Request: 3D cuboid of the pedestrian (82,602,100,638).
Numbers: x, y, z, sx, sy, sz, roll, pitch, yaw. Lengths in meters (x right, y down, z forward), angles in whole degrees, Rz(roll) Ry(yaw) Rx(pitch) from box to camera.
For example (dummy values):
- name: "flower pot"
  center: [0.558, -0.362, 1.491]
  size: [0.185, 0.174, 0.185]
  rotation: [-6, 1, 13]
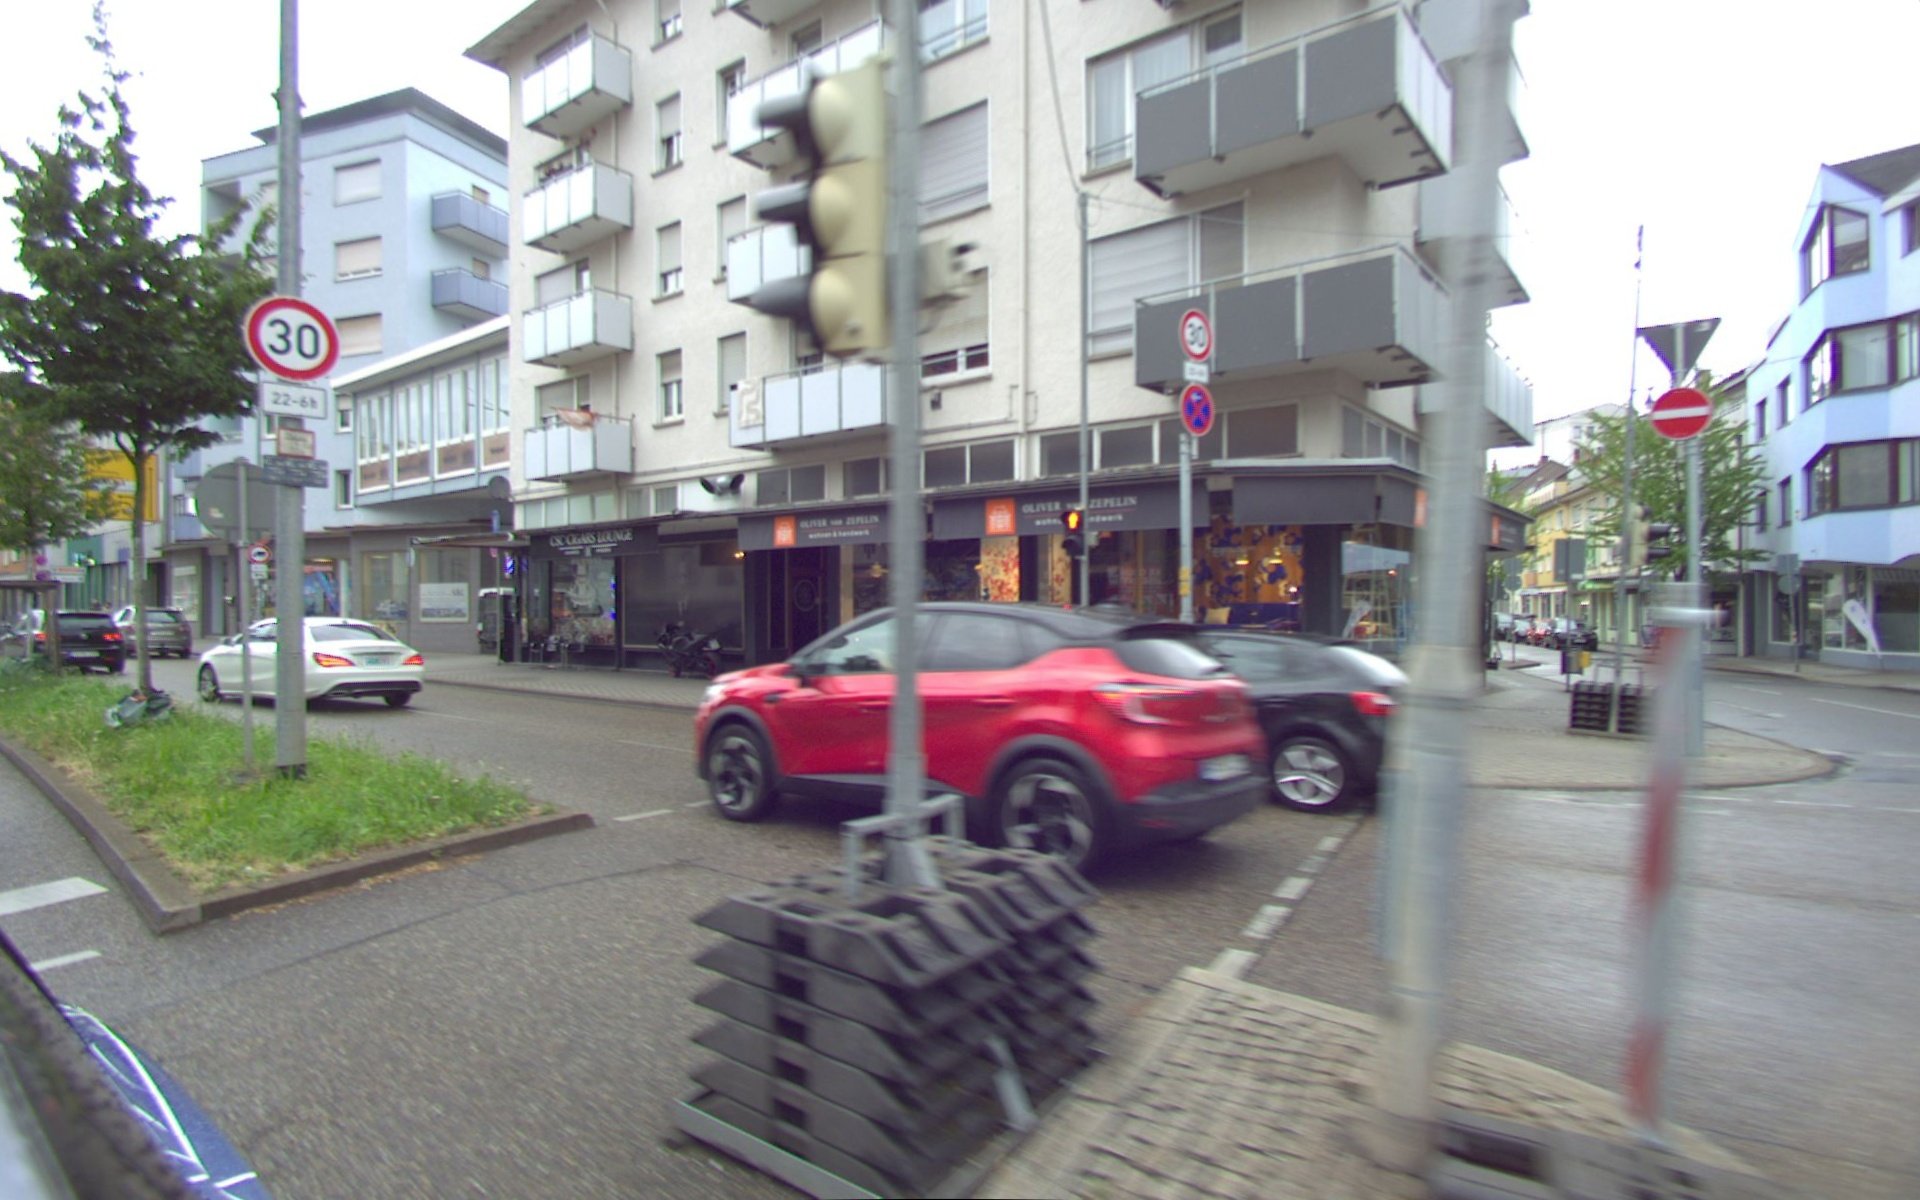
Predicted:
- name: "pedestrian"
  center: [-42.398, 0.984, 49.368]
  size: [0.530, 1.701, 0.520]
  rotation: [1, -1, 39]

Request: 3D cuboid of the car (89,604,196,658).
- name: "car"
  center: [-25.915, 0.980, 32.054]
  size: [4.021, 1.601, 1.755]
  rotation: [-1, -3, 38]

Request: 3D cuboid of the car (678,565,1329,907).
- name: "car"
  center: [0.114, 0.685, 6.777]
  size: [4.086, 1.606, 1.828]
  rotation: [-1, -2, 39]

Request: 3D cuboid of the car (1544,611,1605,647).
- name: "car"
  center: [30.923, 1.416, 51.044]
  size: [1.987, 1.659, 3.970]
  rotation: [0, 0, 22]

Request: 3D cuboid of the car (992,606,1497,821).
- name: "car"
  center: [2.427, 0.853, 9.115]
  size: [3.996, 1.508, 1.828]
  rotation: [-1, -3, 39]

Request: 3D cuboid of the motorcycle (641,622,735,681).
- name: "motorcycle"
  center: [-5.608, 1.029, 20.810]
  size: [2.193, 1.096, 0.662]
  rotation: [0, 2, 38]

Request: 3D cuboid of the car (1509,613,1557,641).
- name: "car"
  center: [35.090, 1.622, 62.067]
  size: [1.986, 1.588, 3.971]
  rotation: [0, 0, 22]

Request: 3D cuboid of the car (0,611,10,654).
- name: "car"
  center: [-34.629, 1.109, 35.241]
  size: [3.835, 1.452, 1.681]
  rotation: [-1, -3, 39]

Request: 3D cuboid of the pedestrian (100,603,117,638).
- name: "pedestrian"
  center: [-41.965, 1.020, 49.867]
  size: [0.530, 1.701, 0.506]
  rotation: [1, -1, 39]

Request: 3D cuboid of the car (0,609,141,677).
- name: "car"
  center: [-20.765, 0.977, 23.506]
  size: [4.152, 1.452, 1.799]
  rotation: [-1, -3, 39]

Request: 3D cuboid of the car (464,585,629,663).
- name: "car"
  center: [-11.731, 0.673, 28.896]
  size: [1.893, 2.070, 3.947]
  rotation: [-1, -1, 40]

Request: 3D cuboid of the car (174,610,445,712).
- name: "car"
  center: [-10.511, 0.931, 16.275]
  size: [4.599, 1.428, 1.831]
  rotation: [-1, -4, 32]

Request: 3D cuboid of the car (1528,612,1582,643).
- name: "car"
  center: [33.173, 1.497, 56.505]
  size: [1.986, 1.588, 3.971]
  rotation: [0, 0, 22]
